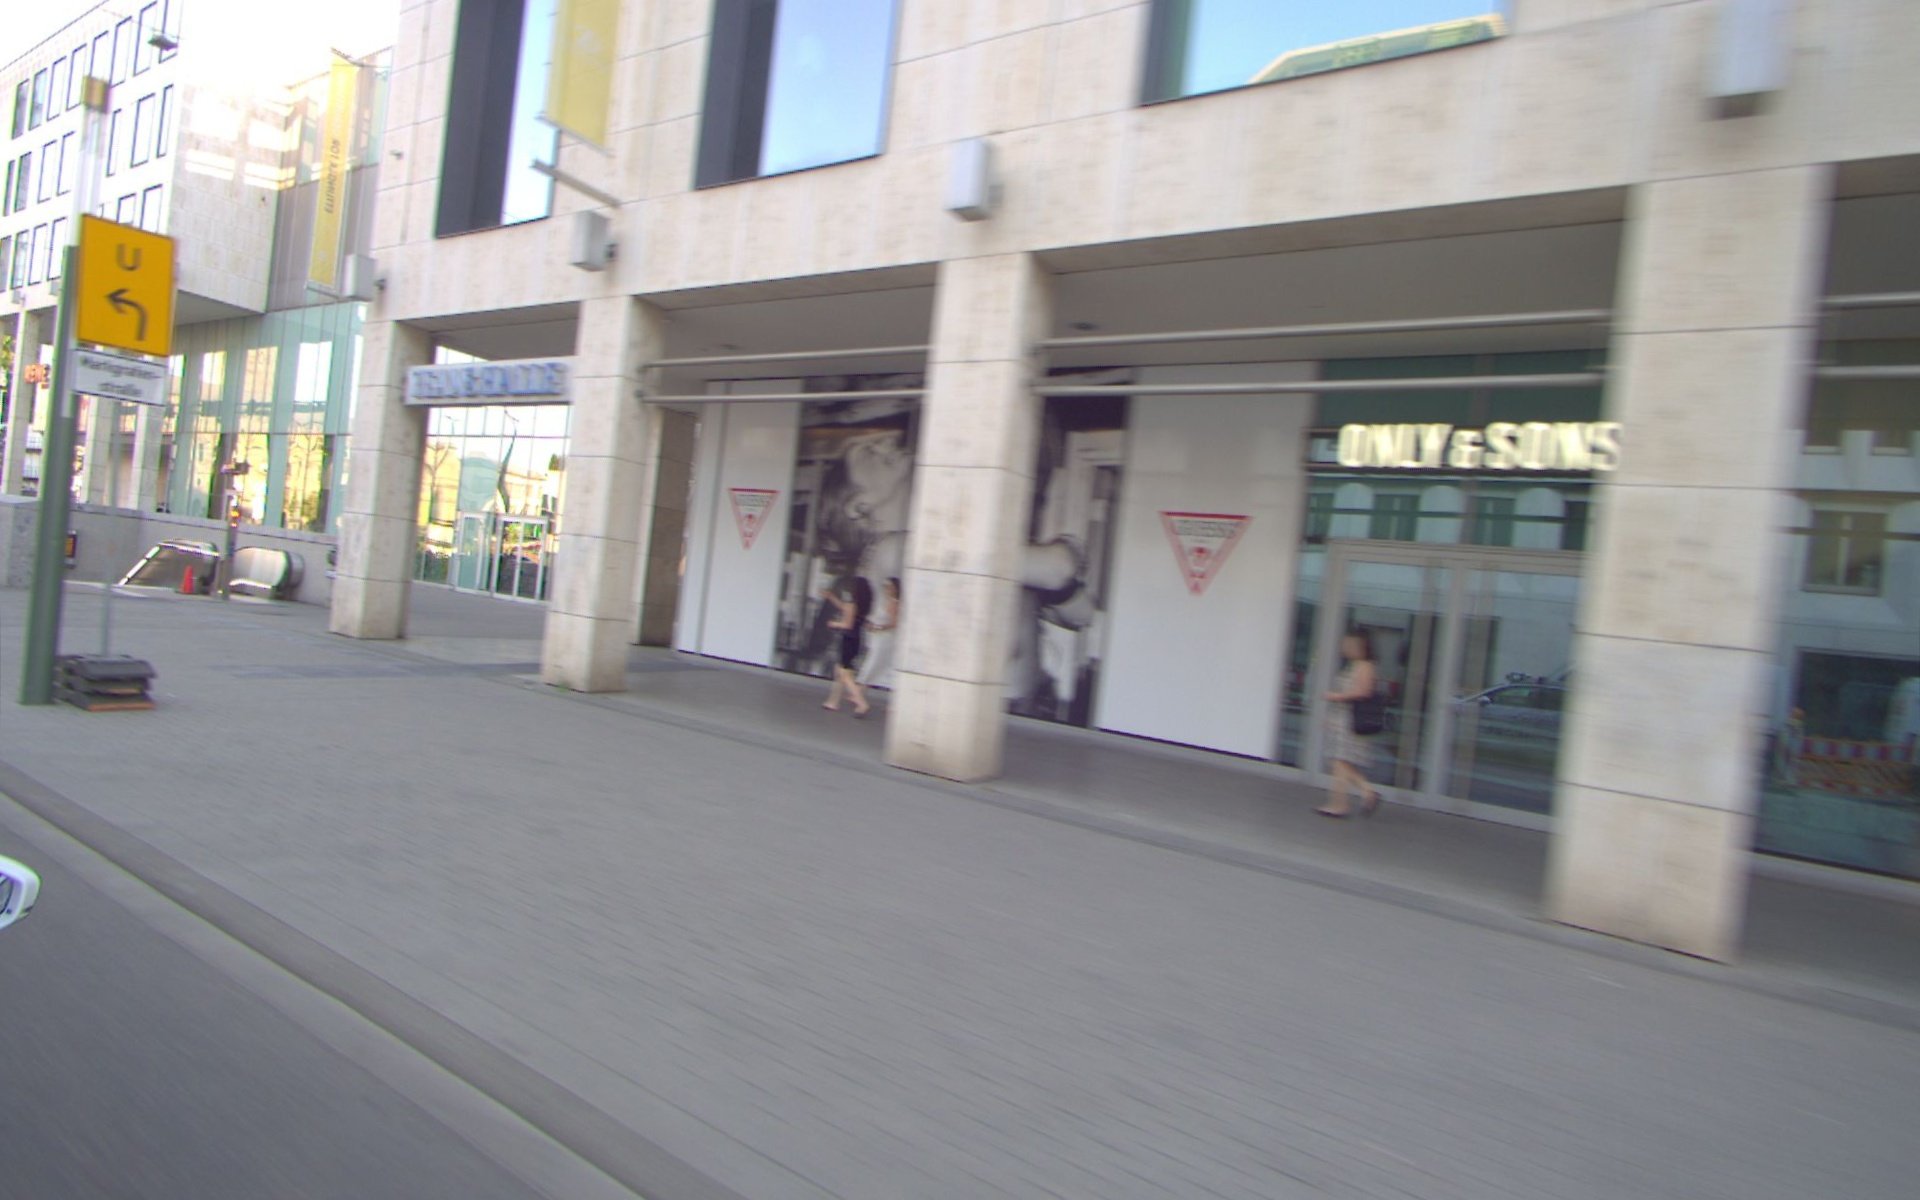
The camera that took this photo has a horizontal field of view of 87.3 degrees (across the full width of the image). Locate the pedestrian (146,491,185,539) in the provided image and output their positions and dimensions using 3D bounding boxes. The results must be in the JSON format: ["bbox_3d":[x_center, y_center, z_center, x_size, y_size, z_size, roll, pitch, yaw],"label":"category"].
[{"bbox_3d":[-31.894,-3.400,40.370,0.974,1.800,0.861,7,2,32],"label":"pedestrian"}]

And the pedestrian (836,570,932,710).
[{"bbox_3d":[-0.905,0.474,12.032,0.762,1.561,0.634,7,0,32],"label":"pedestrian"}]

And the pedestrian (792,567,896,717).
[{"bbox_3d":[-1.298,0.475,11.310,0.717,1.561,0.725,7,0,32],"label":"pedestrian"}]

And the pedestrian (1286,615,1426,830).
[{"bbox_3d":[3.256,0.978,8.265,0.762,1.587,0.634,9,2,32],"label":"pedestrian"}]
